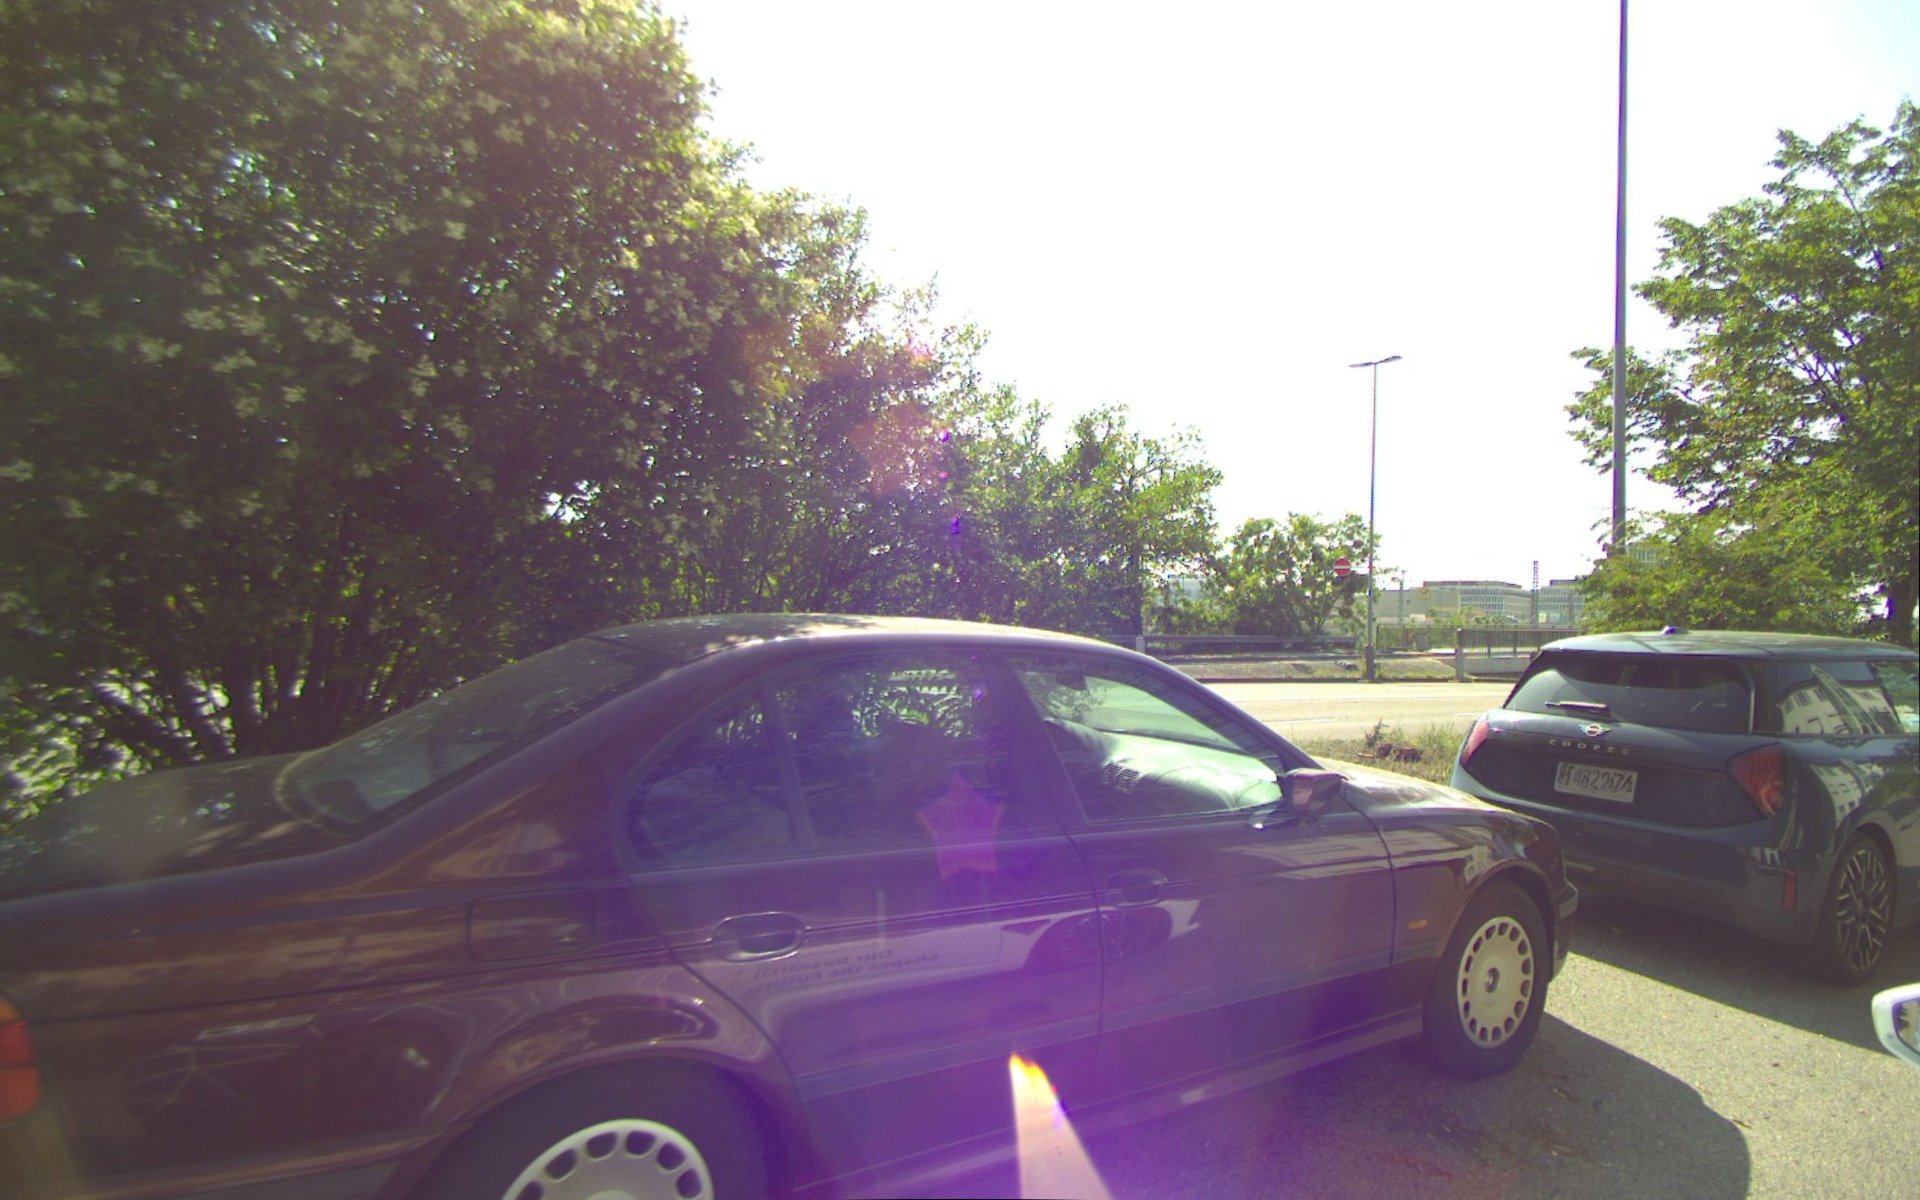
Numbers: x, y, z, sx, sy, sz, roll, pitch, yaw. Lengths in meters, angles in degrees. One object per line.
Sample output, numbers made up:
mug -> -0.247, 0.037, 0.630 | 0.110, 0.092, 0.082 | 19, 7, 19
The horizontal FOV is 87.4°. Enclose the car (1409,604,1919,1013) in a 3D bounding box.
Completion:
car -> 4.402, 0.832, 5.443 | 3.743, 1.493, 1.656 | 1, 1, -29

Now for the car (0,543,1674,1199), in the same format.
car -> 0.153, 0.706, 3.213 | 4.538, 1.532, 1.656 | 1, 1, -29

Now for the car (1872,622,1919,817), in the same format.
car -> 9.488, 1.008, 8.365 | 3.743, 1.532, 1.656 | 1, 1, -29
